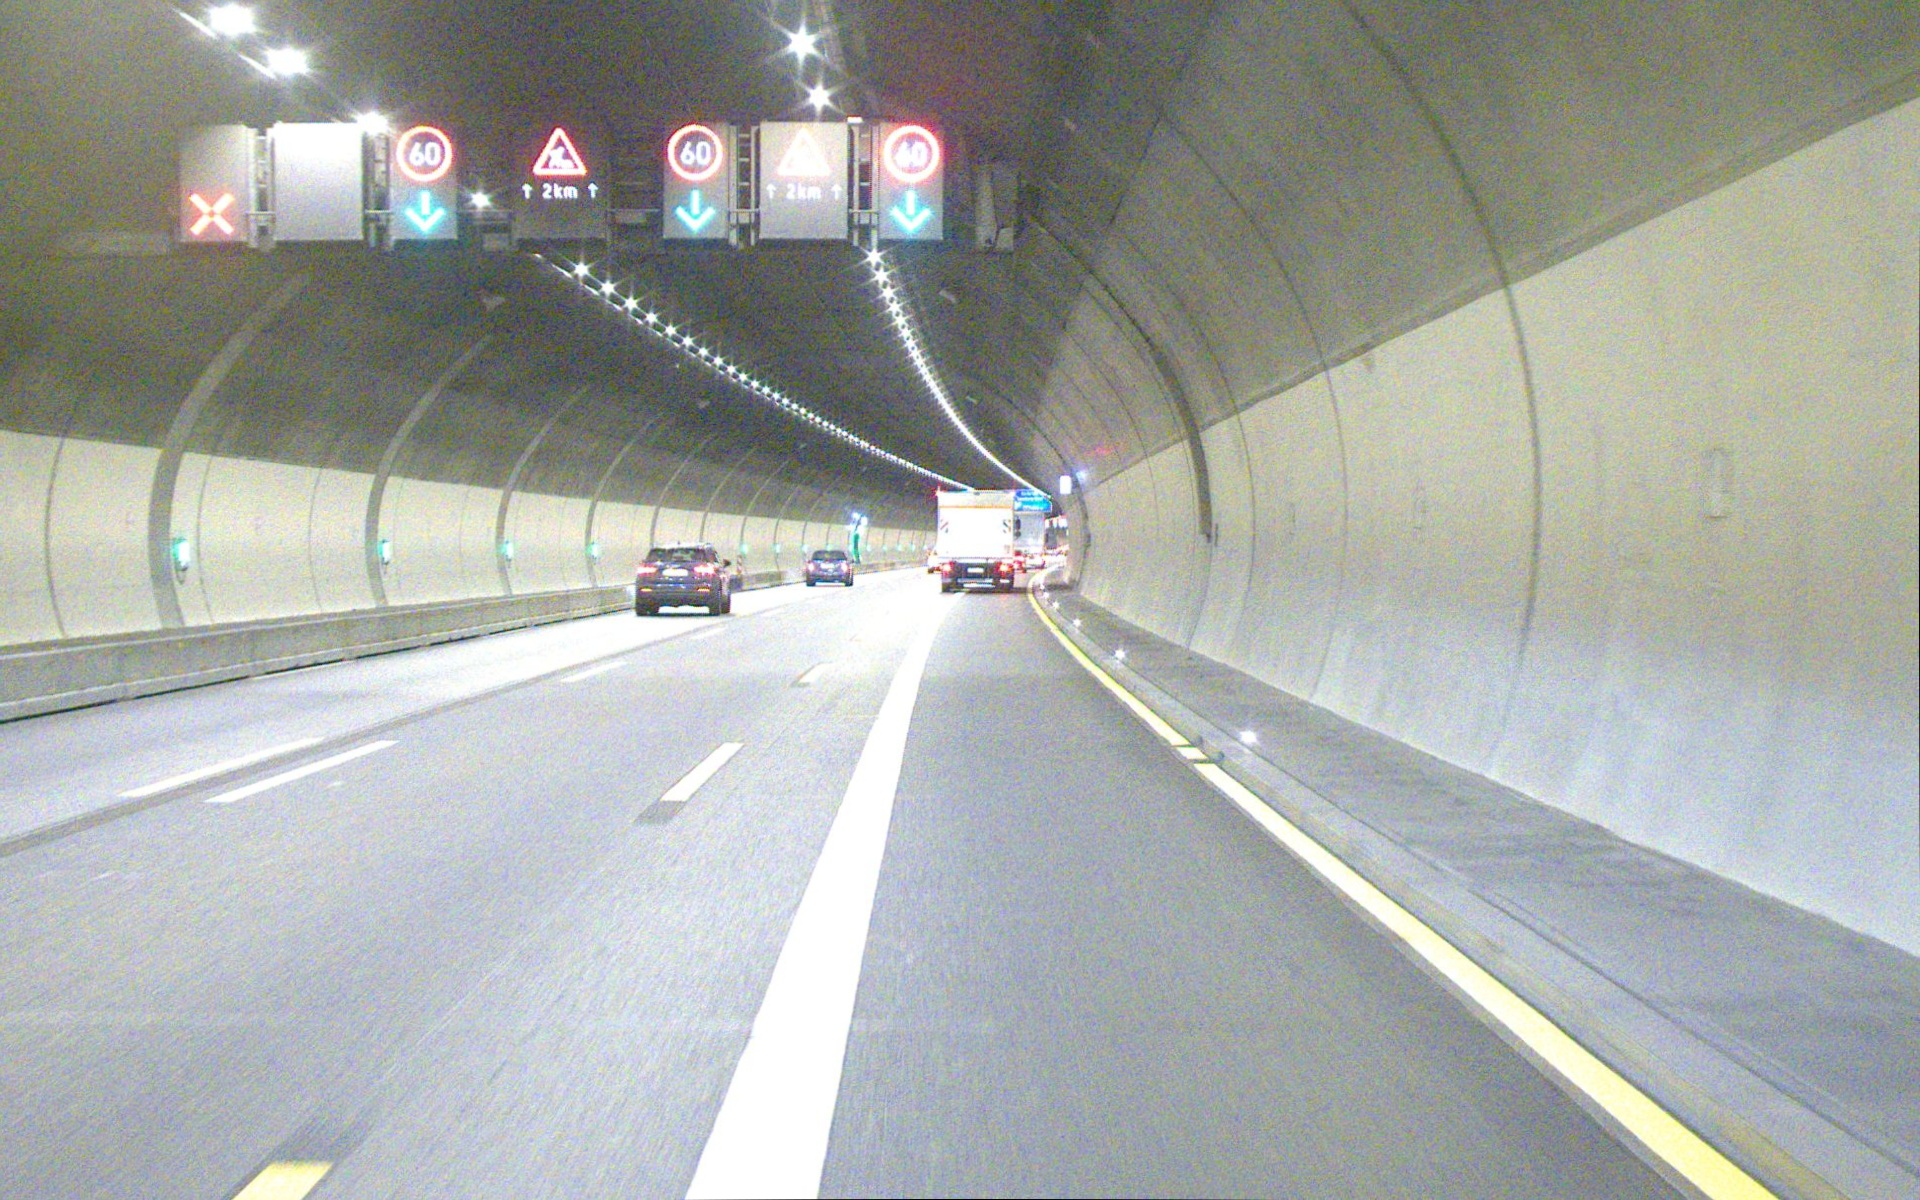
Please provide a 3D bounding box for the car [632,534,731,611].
[{"bbox_3d":[-6.003,-0.615,74.566,1.812,1.612,4.000,0,1,0],"label":"car"}]

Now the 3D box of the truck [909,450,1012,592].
[{"bbox_3d":[-0.117,-2.761,122.775,3.278,4.634,17.288,-1,1,-1],"label":"truck"}]

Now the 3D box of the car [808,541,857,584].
[{"bbox_3d":[-4.895,-1.466,132.297,1.812,1.514,4.001,0,2,-1],"label":"car"}]

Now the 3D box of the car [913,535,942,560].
[{"bbox_3d":[-1.850,-2.991,195.139,1.650,1.270,4.001,0,2,-1],"label":"car"}]

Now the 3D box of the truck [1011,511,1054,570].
[{"bbox_3d":[5.186,-4.278,247.960,2.923,4.034,14.029,-1,1,1],"label":"truck"}]
